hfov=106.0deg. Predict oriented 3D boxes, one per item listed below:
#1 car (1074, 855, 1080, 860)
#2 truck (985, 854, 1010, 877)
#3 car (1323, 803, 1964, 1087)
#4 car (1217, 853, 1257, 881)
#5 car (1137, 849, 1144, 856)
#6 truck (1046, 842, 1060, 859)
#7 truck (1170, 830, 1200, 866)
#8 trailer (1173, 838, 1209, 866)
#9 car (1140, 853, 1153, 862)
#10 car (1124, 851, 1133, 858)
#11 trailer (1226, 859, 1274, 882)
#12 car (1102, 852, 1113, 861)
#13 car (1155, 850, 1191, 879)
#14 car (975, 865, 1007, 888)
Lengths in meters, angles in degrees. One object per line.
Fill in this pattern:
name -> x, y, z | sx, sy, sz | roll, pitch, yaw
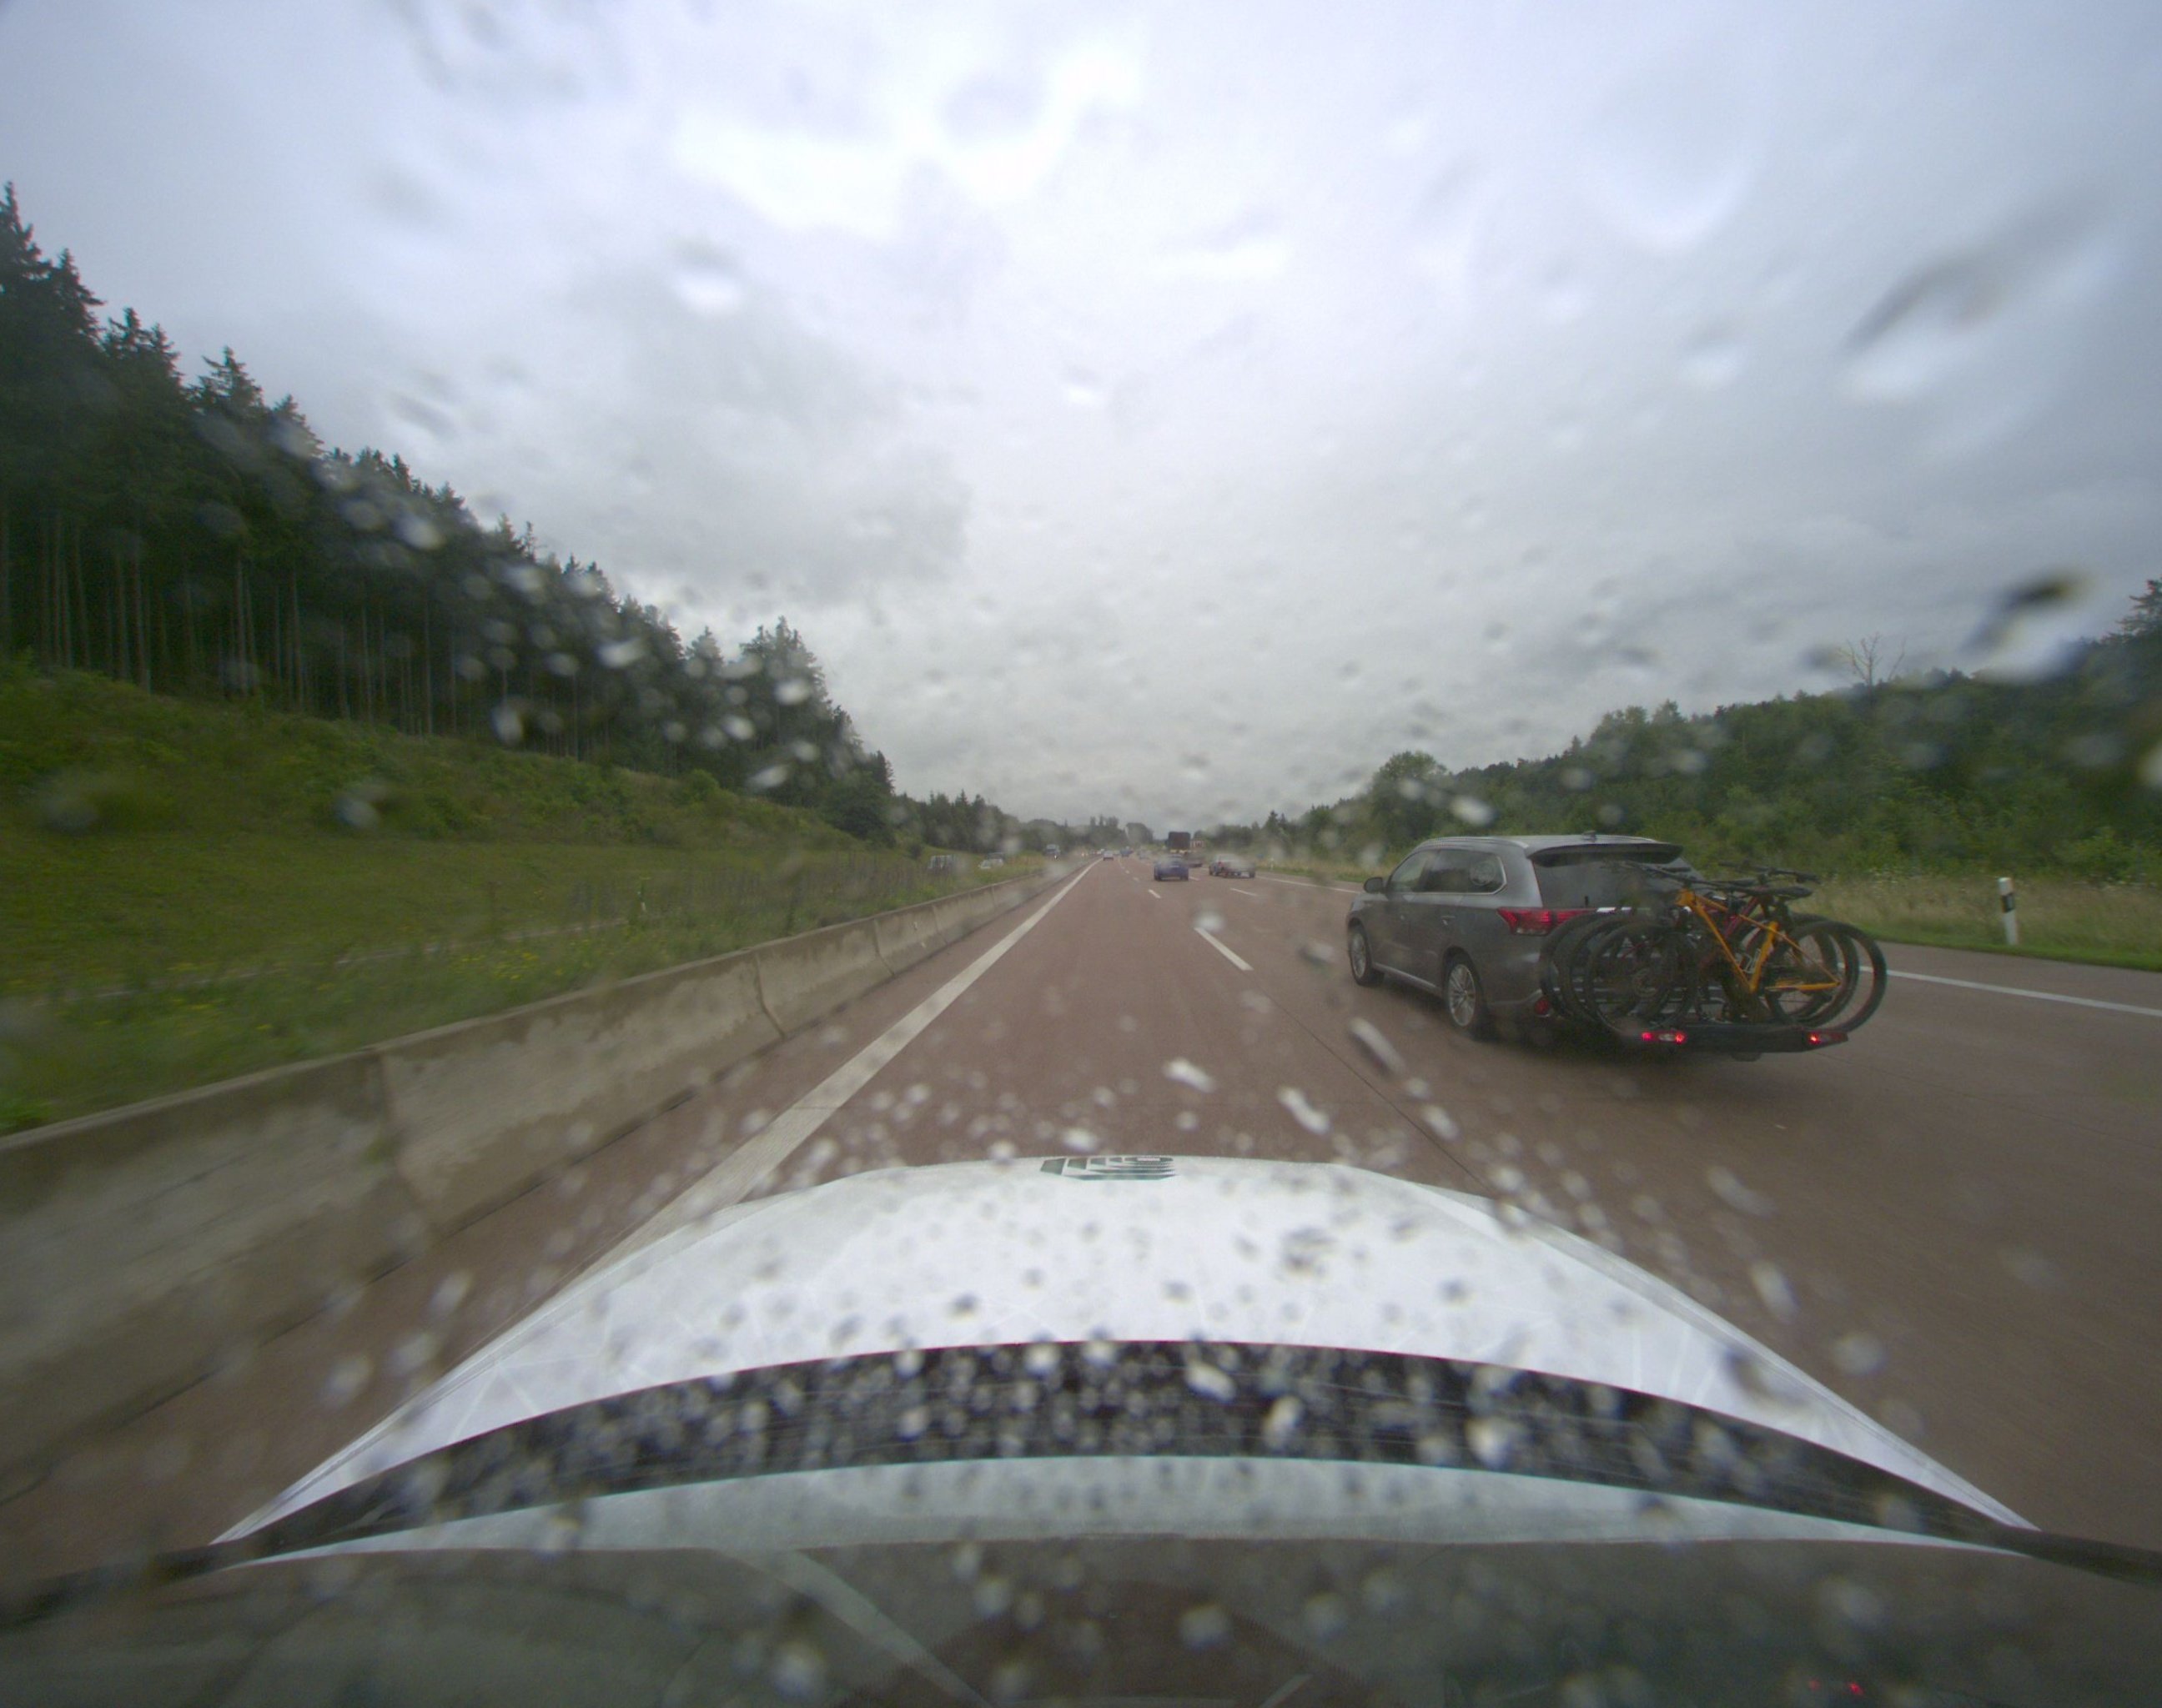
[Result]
car -> -1.217, 0.968, 248.312 | 1.812, 1.369, 5.116 | 0, -1, 1
truck -> -12.119, 1.650, 118.389 | 2.853, 3.172, 6.496 | 0, -1, 1
car -> 4.047, 0.558, 7.526 | 1.986, 1.593, 5.821 | 0, -1, 1
car -> 9.524, 0.780, 50.085 | 1.691, 1.611, 4.979 | -1, -1, 2
car -> 17.682, -0.443, 242.871 | 1.985, 2.014, 4.003 | 0, -1, 3
truck -> -7.312, -0.973, 214.718 | 2.953, 4.319, 7.652 | -5, 1, 2
truck -> 11.784, -0.605, 92.673 | 2.885, 3.965, 6.993 | 0, -1, 3
trailer -> 11.358, -0.099, 85.204 | 2.869, 2.675, 11.407 | 0, -1, 3
car -> 12.509, 0.714, 155.992 | 2.313, 1.750, 4.880 | 0, -1, 3
car -> 12.455, 0.109, 212.957 | 2.313, 1.750, 4.880 | 0, -1, 3
trailer -> 9.435, 0.886, 45.753 | 1.963, 1.166, 4.642 | 0, 0, 3
car -> 4.966, 0.482, 150.090 | 1.866, 1.444, 4.881 | 0, 1, 3
car -> 5.195, 0.613, 46.379 | 1.764, 1.564, 4.149 | 0, -1, 3
car -> -6.479, 1.585, 58.969 | 1.836, 1.603, 3.847 | 0, -1, 1
